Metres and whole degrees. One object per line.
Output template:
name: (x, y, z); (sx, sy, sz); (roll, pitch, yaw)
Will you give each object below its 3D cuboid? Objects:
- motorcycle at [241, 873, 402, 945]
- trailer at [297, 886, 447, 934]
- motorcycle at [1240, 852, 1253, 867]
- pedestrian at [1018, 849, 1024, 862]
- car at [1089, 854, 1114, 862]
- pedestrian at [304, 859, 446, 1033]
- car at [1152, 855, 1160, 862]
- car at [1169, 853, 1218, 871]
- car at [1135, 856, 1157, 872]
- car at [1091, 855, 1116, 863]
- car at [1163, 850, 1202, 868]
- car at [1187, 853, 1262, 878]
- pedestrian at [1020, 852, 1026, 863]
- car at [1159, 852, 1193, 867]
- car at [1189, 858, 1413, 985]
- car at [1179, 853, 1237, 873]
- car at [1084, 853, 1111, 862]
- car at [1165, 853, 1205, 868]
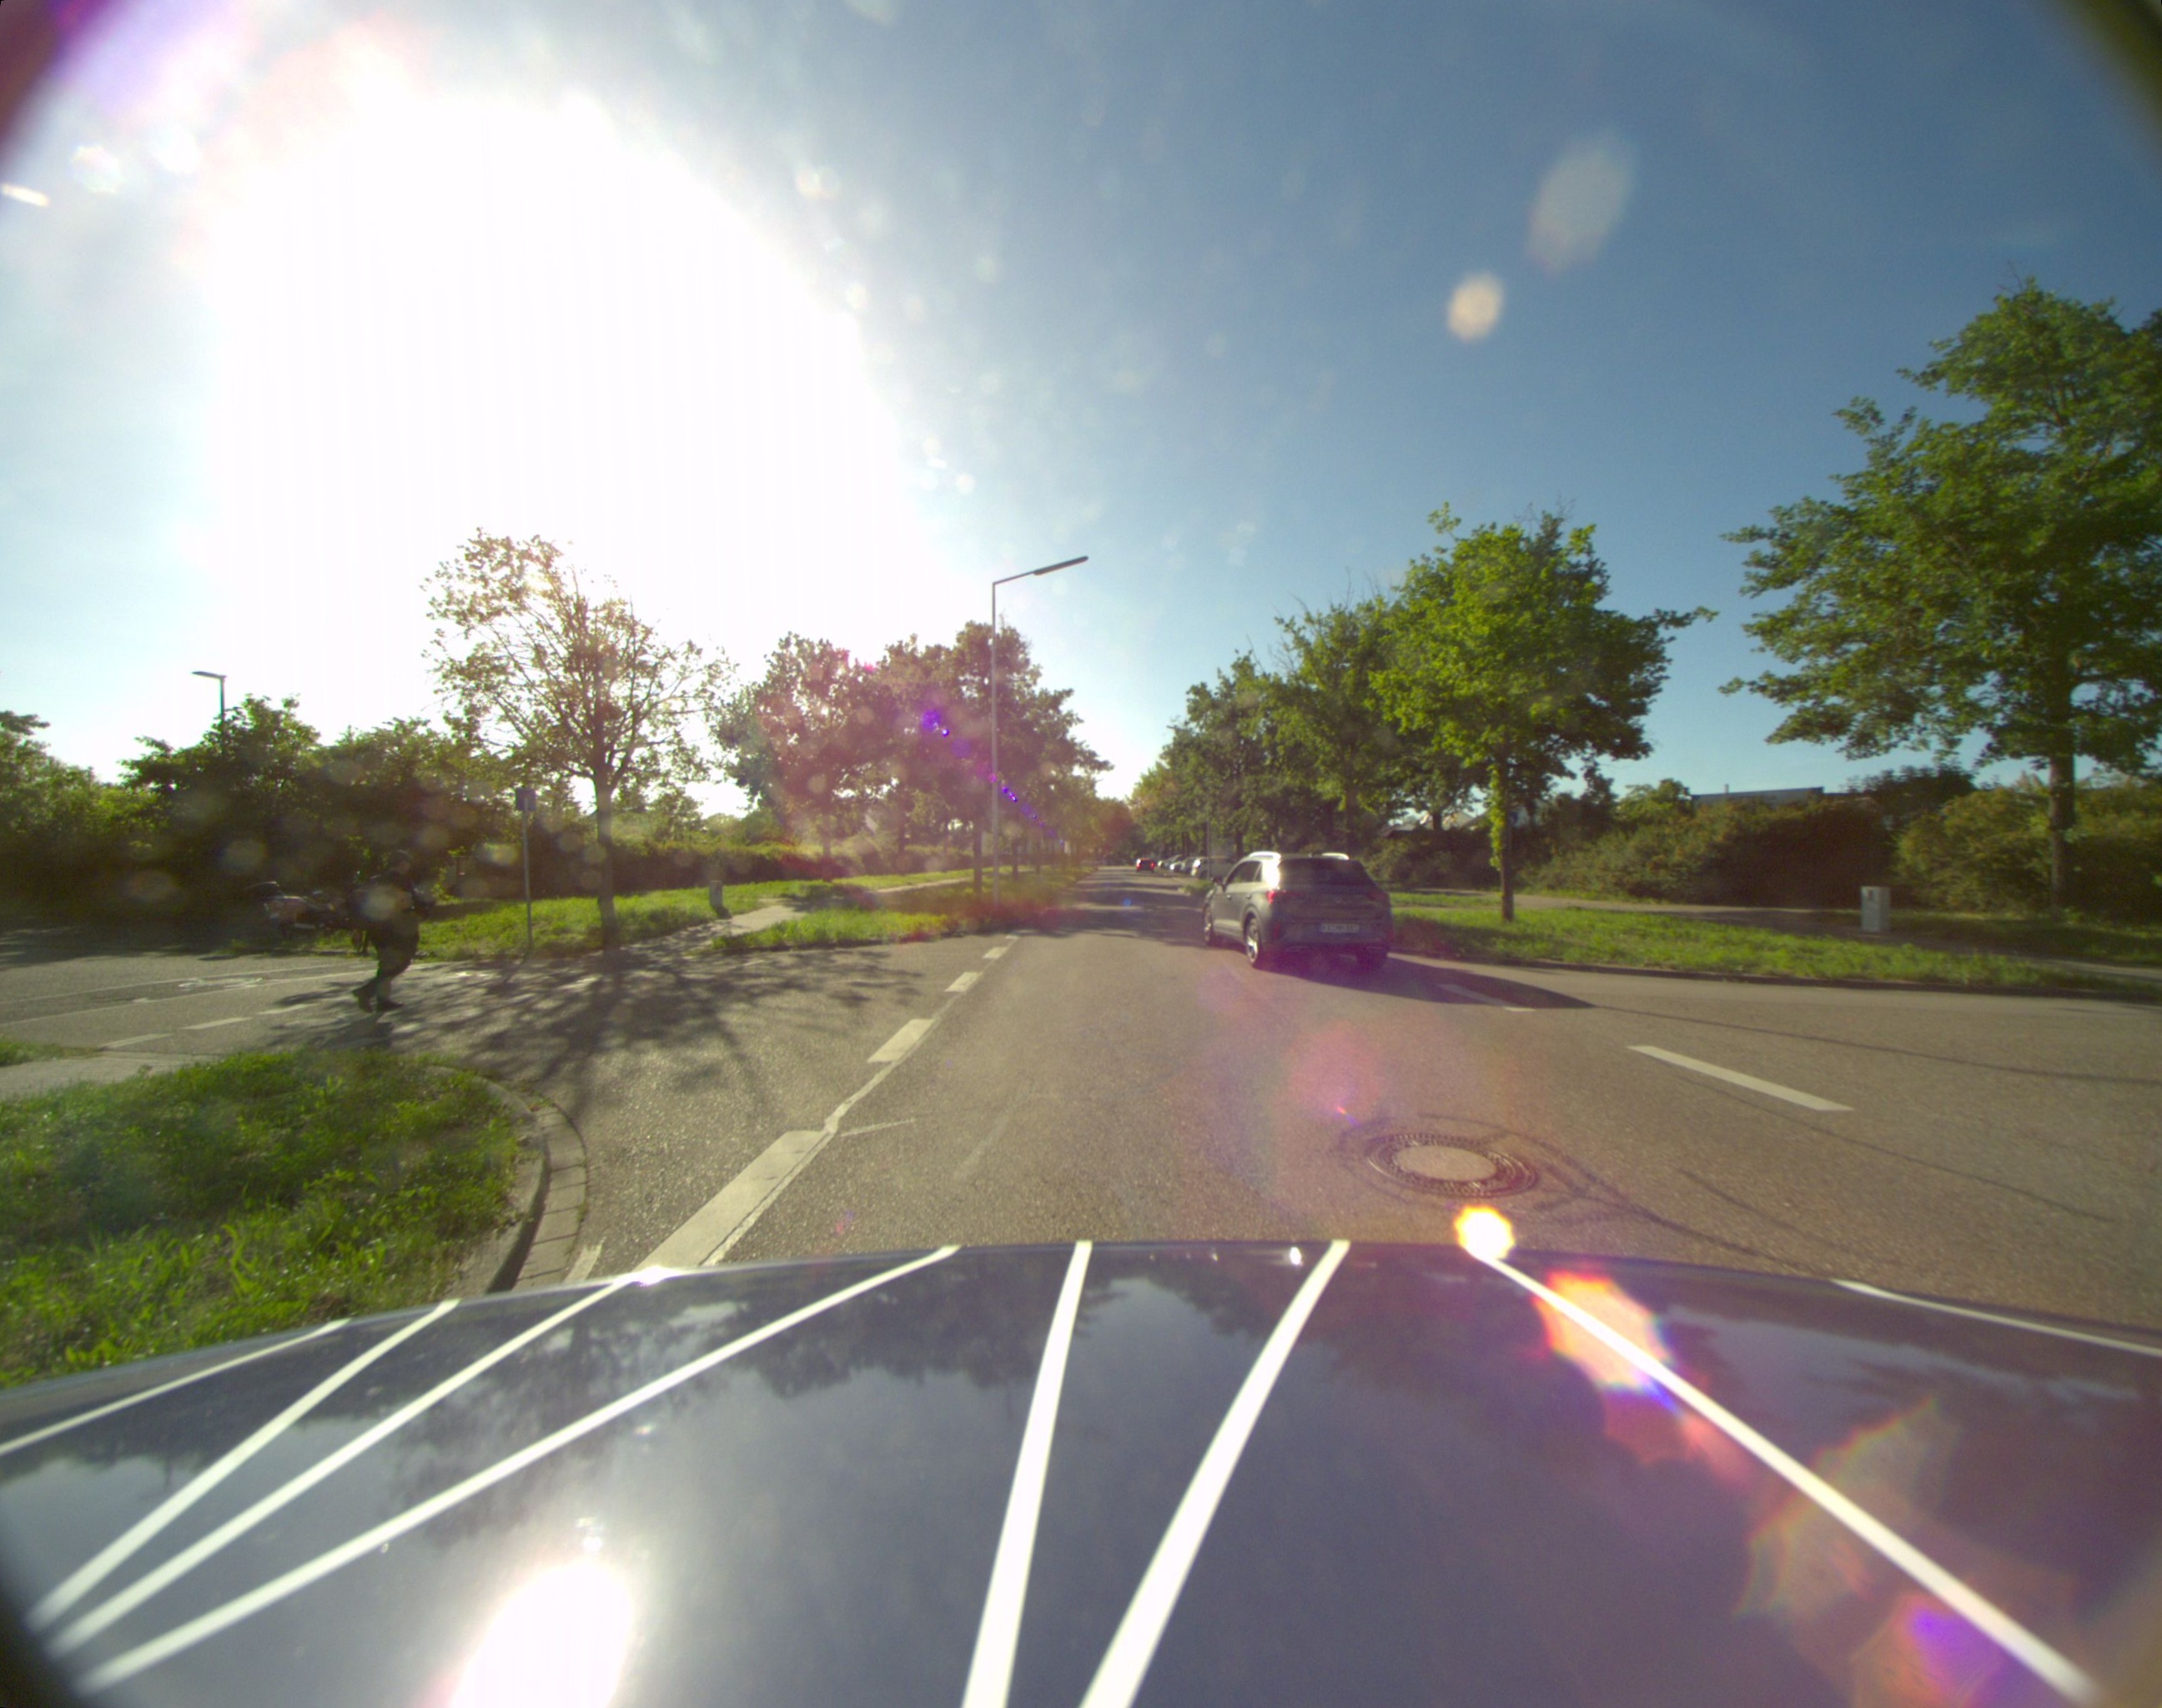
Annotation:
motorcycle: (-16.301, 1.130, 16.434); (0.664, 1.225, 2.407); (0, 4, 12)
trailer: (-17.081, 1.321, 18.395); (1.581, 0.863, 2.055); (0, 4, 13)
motorcycle: (15.646, 0.521, 71.838); (0.739, 1.424, 1.991); (-4, 0, 3)
pedestrian: (-9.531, 0.201, 120.515); (0.834, 2.002, 0.611); (0, 1, -1)
car: (3.726, 0.704, 137.452); (4.510, 1.470, 1.942); (0, 0, 5)
pedestrian: (-7.739, 0.968, 8.372); (0.727, 1.802, 0.867); (0, 1, 0)
car: (16.604, 1.012, 169.258); (1.687, 1.394, 4.429); (1, 0, 5)
car: (10.653, 0.719, 72.316); (4.422, 1.547, 2.089); (-2, 0, 4)
car: (6.396, 0.936, 75.341); (1.770, 1.520, 4.495); (1, 0, 0)
car: (4.272, 0.848, 142.474); (4.510, 1.470, 1.942); (0, 0, 5)
car: (11.660, 0.543, 87.578); (4.237, 1.872, 1.999); (-2, 0, 3)
car: (9.650, 0.776, 51.351); (4.638, 1.549, 2.191); (-2, 0, -1)
pedestrian: (-9.125, 0.539, 119.123); (0.868, 1.855, 0.666); (0, 1, 11)
car: (11.580, 0.653, 92.979); (4.071, 1.633, 1.877); (-2, 0, 5)
car: (3.019, 0.846, 11.537); (1.810, 1.527, 4.494); (1, 0, -4)
car: (10.329, 0.753, 62.033); (4.423, 1.502, 2.088); (-2, 0, 2)
car: (2.771, 0.595, 128.830); (4.510, 1.470, 1.942); (0, 0, 5)
car: (11.239, 0.712, 82.381); (4.145, 1.547, 1.866); (-2, 0, 4)
